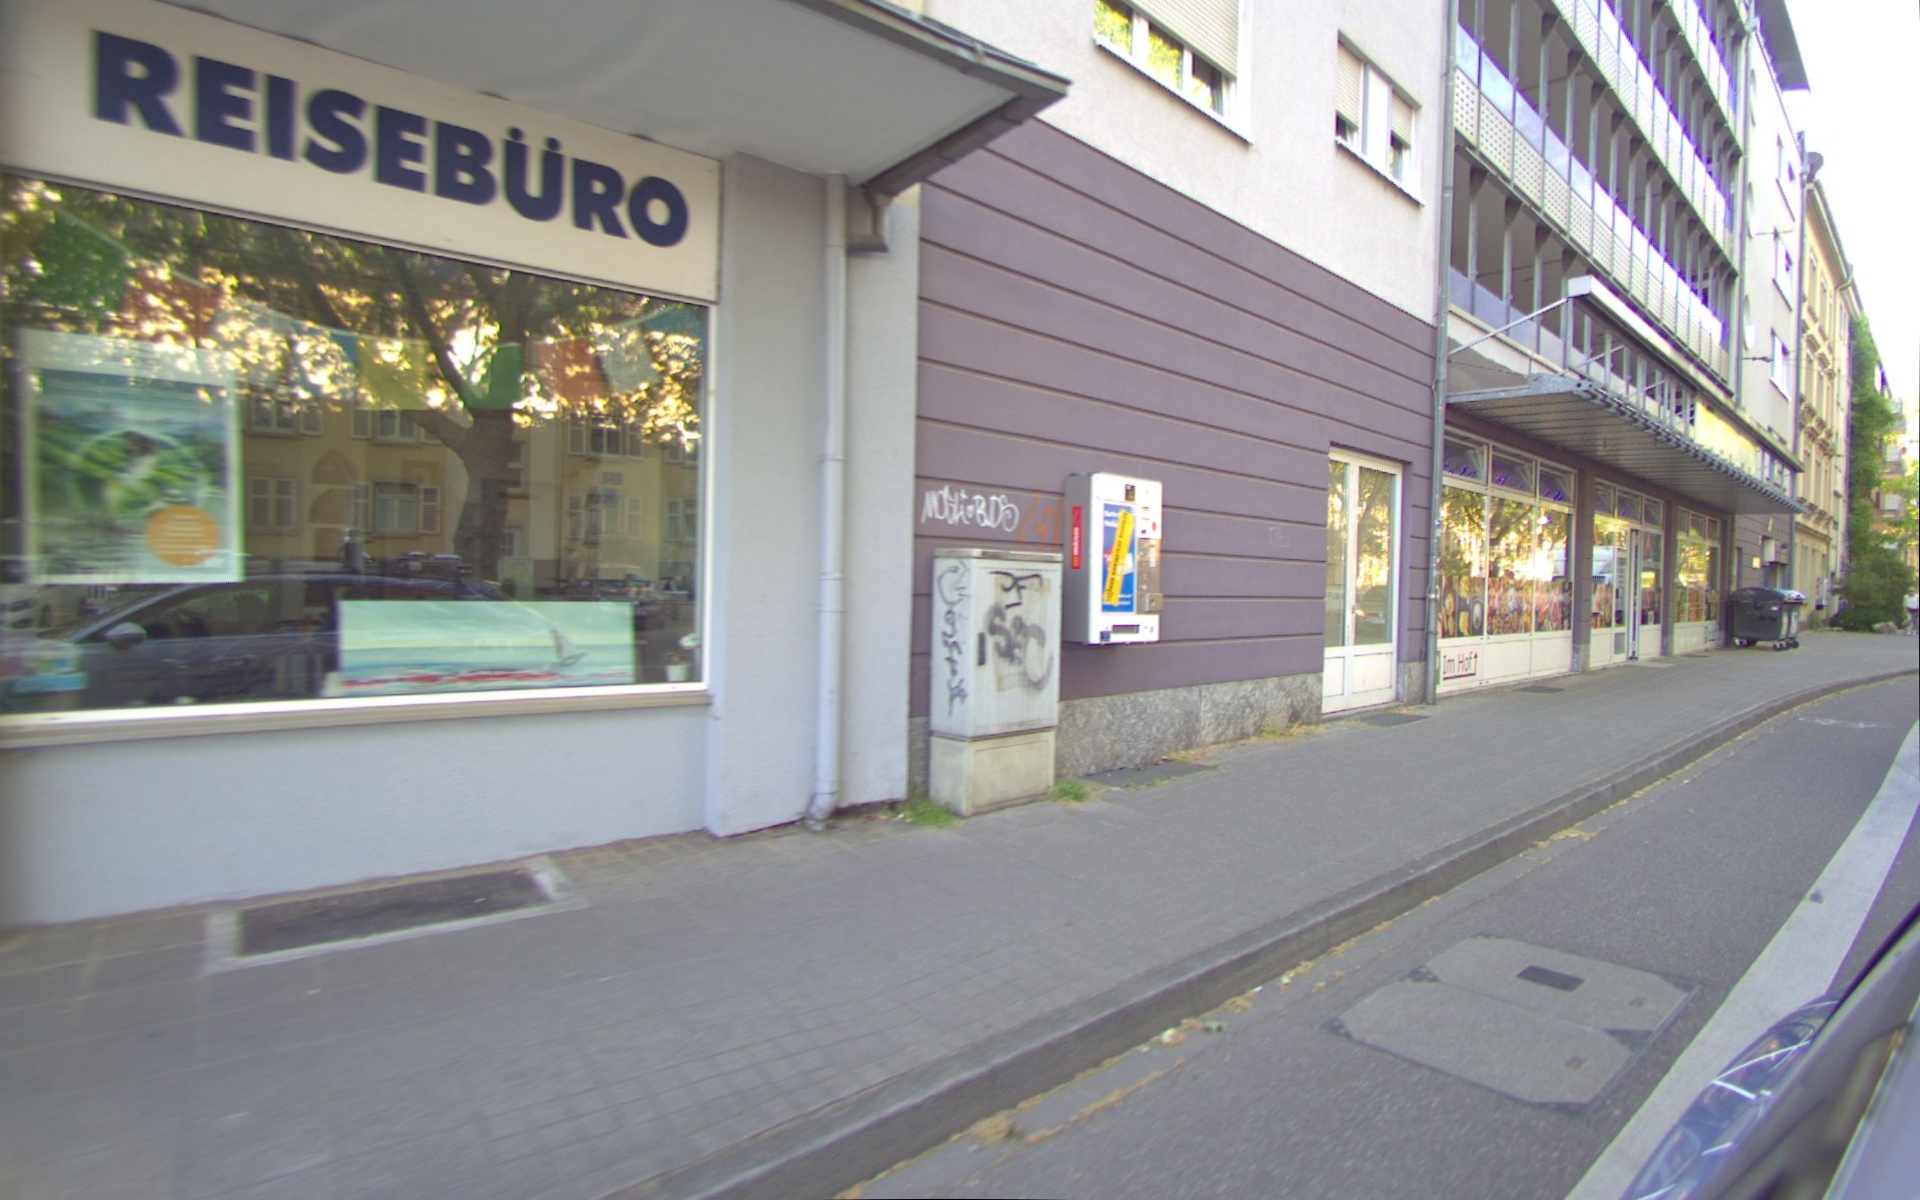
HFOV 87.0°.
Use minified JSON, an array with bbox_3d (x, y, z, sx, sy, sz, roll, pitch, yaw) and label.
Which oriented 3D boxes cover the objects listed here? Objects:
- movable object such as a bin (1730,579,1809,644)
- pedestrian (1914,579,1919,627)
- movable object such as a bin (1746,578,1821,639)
[{"bbox_3d":[18.784,0.235,23.484,1.348,1.427,1.203,0,2,-41],"label":"movable object such as a bin"},{"bbox_3d":[33.978,0.114,35.580,0.619,1.693,0.540,0,1,-41],"label":"pedestrian"},{"bbox_3d":[20.215,0.198,24.833,1.348,1.427,1.203,0,2,-41],"label":"movable object such as a bin"}]
